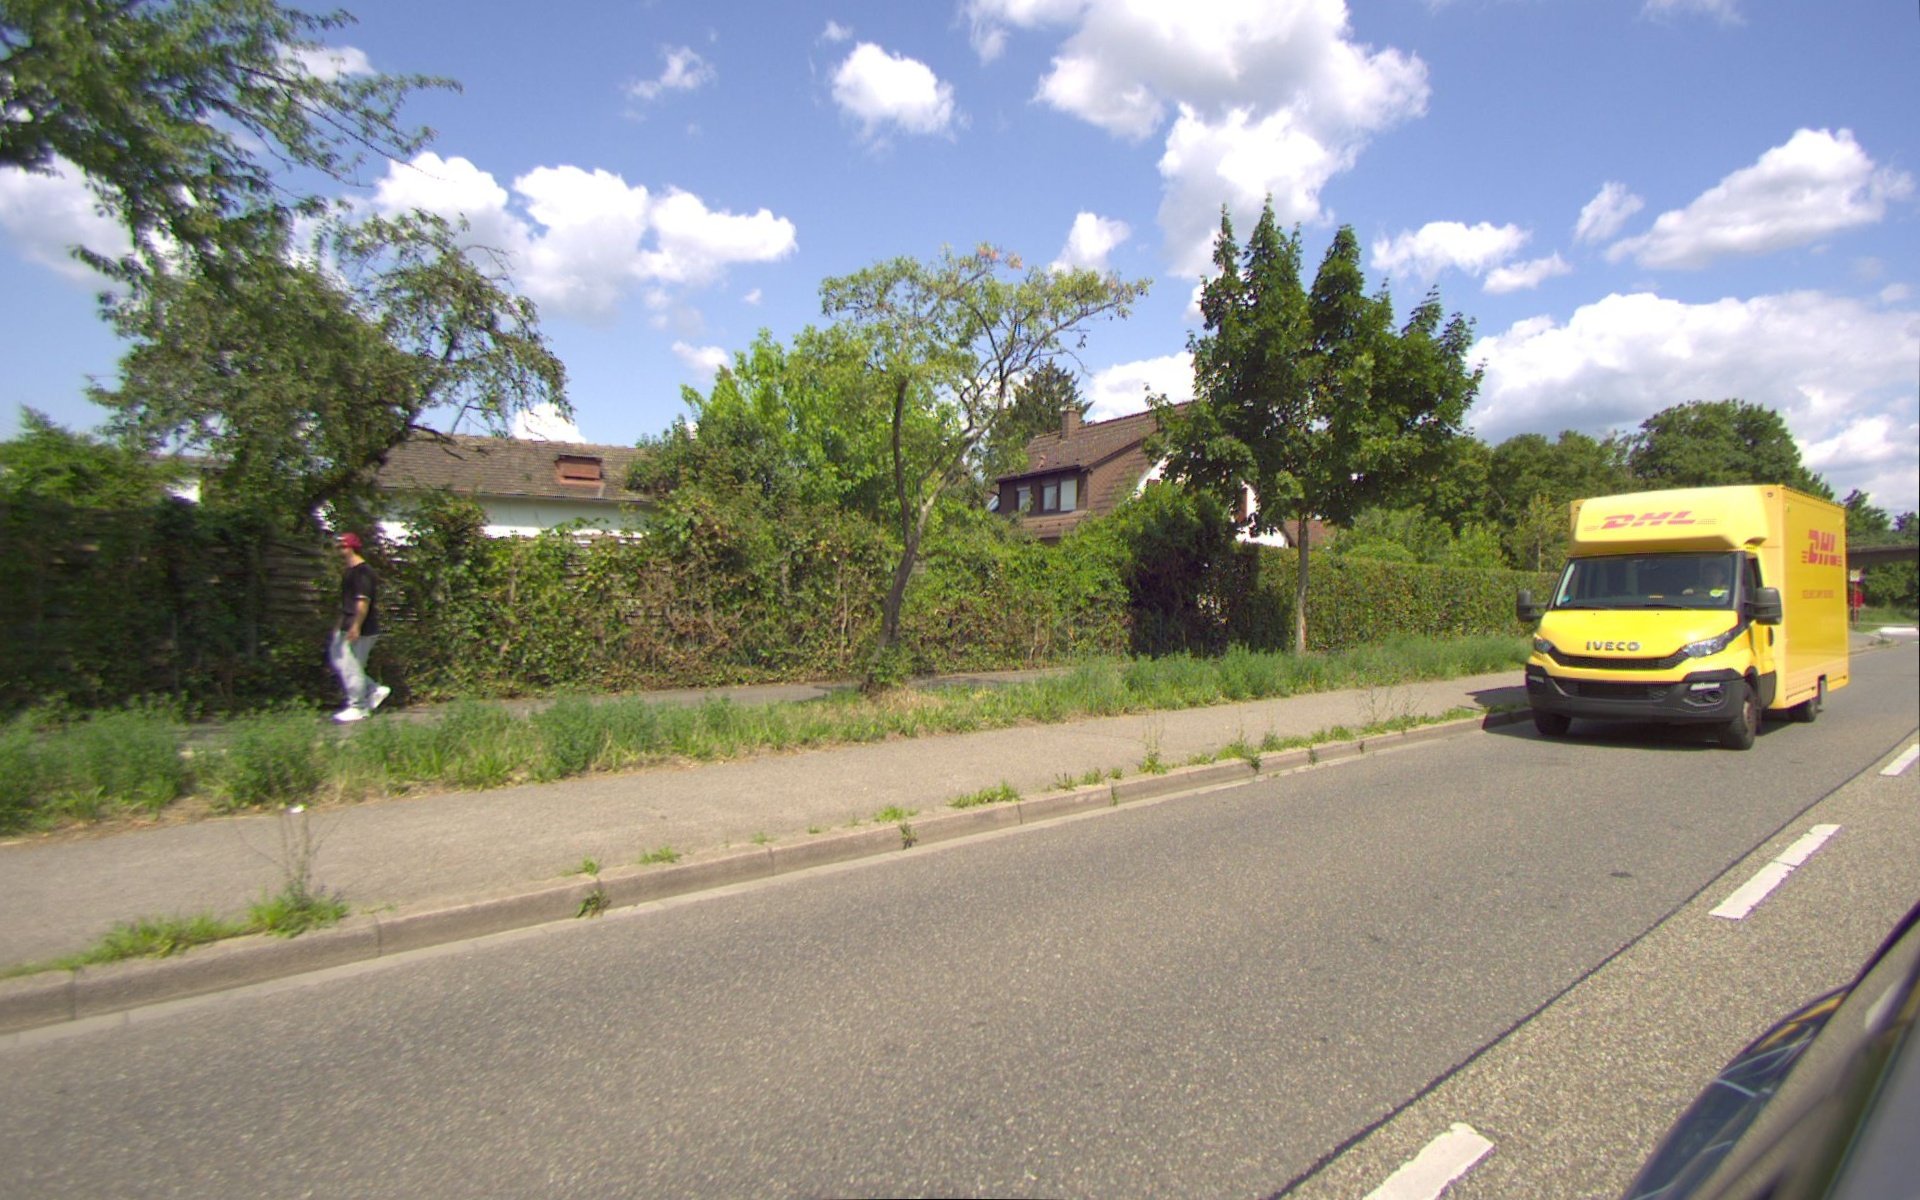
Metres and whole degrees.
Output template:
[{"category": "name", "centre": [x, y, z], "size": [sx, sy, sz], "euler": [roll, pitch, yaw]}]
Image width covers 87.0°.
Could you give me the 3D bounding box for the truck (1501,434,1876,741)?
[{"category": "truck", "centre": [9.750, -0.070, 13.097], "size": [7.888, 2.917, 2.268], "euler": [1, -1, -42]}]

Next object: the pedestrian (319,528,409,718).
[{"category": "pedestrian", "centre": [-5.580, 0.201, 9.473], "size": [0.623, 1.698, 0.561], "euler": [0, 0, -41]}]
